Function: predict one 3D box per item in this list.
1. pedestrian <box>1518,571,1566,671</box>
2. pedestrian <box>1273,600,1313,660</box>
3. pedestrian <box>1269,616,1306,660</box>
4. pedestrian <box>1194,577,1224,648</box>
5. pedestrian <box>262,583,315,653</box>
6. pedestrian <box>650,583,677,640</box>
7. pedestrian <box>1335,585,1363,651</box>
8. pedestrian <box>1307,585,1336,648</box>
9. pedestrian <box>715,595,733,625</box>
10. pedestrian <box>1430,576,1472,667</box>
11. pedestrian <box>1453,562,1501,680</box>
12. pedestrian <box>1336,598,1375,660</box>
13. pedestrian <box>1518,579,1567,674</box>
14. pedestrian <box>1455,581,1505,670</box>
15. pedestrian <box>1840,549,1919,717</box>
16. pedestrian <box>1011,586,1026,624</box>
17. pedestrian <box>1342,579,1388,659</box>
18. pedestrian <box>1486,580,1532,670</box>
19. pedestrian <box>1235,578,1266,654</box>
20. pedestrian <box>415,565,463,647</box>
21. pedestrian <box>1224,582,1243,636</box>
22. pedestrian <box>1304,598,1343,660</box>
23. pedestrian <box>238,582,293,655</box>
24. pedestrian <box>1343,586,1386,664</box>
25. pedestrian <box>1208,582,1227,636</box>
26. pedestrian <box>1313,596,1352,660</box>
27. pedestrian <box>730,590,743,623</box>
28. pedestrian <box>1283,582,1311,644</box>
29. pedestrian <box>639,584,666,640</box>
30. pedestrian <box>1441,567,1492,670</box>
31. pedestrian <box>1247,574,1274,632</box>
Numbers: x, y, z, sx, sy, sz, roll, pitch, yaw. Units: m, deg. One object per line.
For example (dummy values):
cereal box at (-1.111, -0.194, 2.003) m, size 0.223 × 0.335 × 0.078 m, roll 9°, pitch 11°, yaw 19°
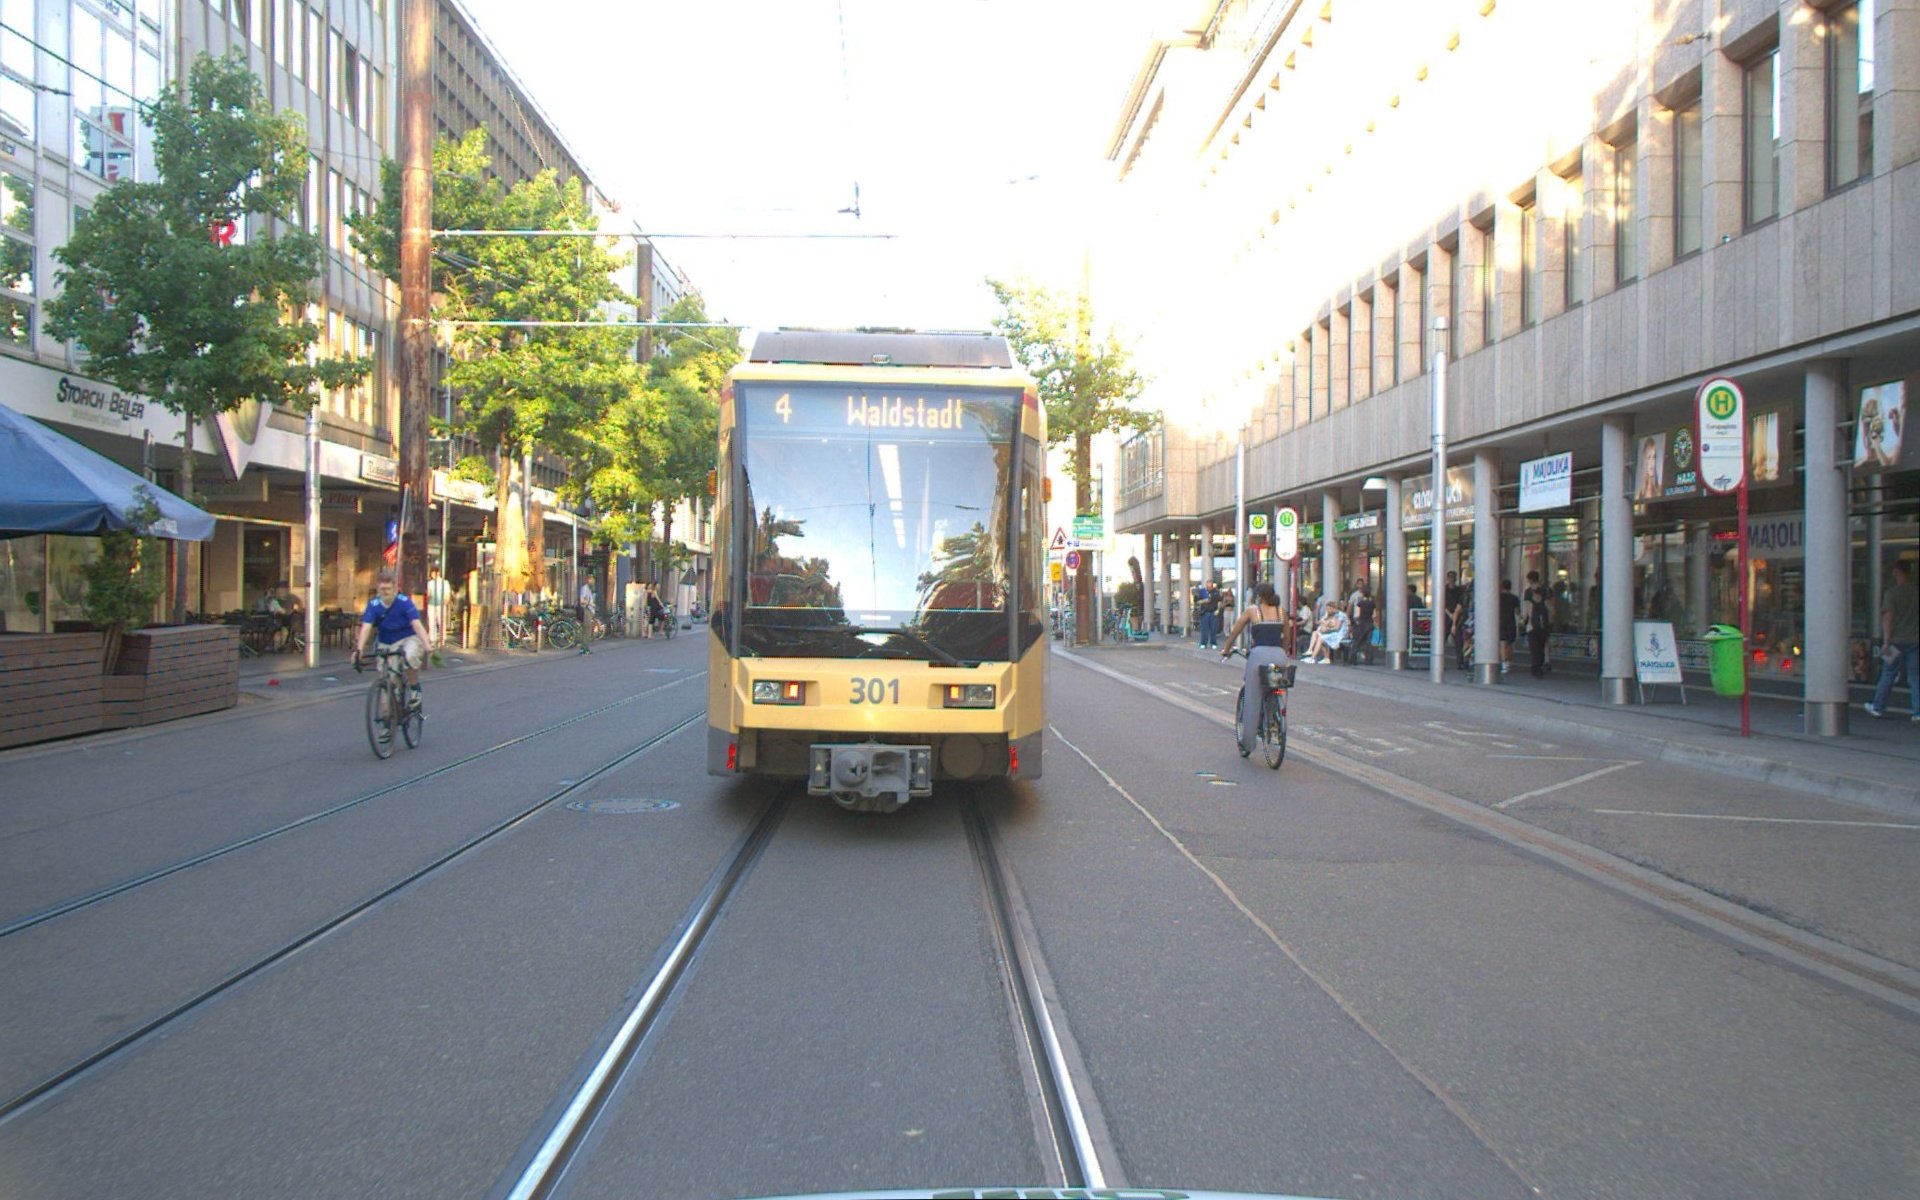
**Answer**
pedestrian at (11.087, 0.398, 31.513) m, size 0.677 × 1.885 × 0.680 m, roll 0°, pitch 0°, yaw 0°
pedestrian at (7.975, 0.712, 39.629) m, size 0.796 × 1.405 × 0.662 m, roll 1°, pitch -1°, yaw 0°
pedestrian at (7.979, 0.920, 40.313) m, size 0.796 × 1.061 × 0.544 m, roll 1°, pitch -1°, yaw 0°
pedestrian at (6.652, 0.339, 44.185) m, size 0.655 × 1.872 × 0.708 m, roll -1°, pitch 0°, yaw -2°
pedestrian at (-13.462, 0.358, 33.172) m, size 0.657 × 1.349 × 0.911 m, roll 3°, pitch -1°, yaw -3°
pedestrian at (-9.126, 0.363, 50.864) m, size 0.589 × 1.729 × 0.535 m, roll 1°, pitch 0°, yaw 27°
pedestrian at (10.502, 0.472, 44.657) m, size 0.559 × 1.762 × 0.617 m, roll -1°, pitch 0°, yaw -3°
pedestrian at (10.642, 0.479, 48.676) m, size 0.649 × 1.818 × 0.719 m, roll -1°, pitch 0°, yaw -1°
pedestrian at (-11.429, 0.494, 79.965) m, size 0.544 × 1.459 × 0.682 m, roll -1°, pitch -1°, yaw 36°
pedestrian at (9.716, 0.424, 32.738) m, size 0.570 × 1.783 × 0.773 m, roll -1°, pitch 0°, yaw -3°
pedestrian at (8.803, 0.355, 28.183) m, size 0.566 × 1.978 × 0.655 m, roll -1°, pitch -1°, yaw -2°
pedestrian at (8.648, 0.638, 36.193) m, size 0.703 × 1.337 × 0.532 m, roll 1°, pitch -1°, yaw 0°
pedestrian at (10.492, 0.472, 29.789) m, size 0.635 × 1.690 × 0.680 m, roll 0°, pitch 0°, yaw 0°
pedestrian at (10.734, 0.517, 34.162) m, size 0.757 × 1.803 × 0.773 m, roll -1°, pitch 0°, yaw -3°
pedestrian at (11.026, 0.375, 19.462) m, size 0.827 × 1.922 × 0.899 m, roll -1°, pitch 0°, yaw -1°
pedestrian at (2.760, 0.233, 78.019) m, size 0.703 × 1.756 × 0.709 m, roll 0°, pitch -1°, yaw 0°
pedestrian at (9.409, 0.435, 38.425) m, size 0.827 × 1.829 × 0.858 m, roll -1°, pitch 0°, yaw -1°
pedestrian at (10.476, 0.479, 31.561) m, size 0.635 × 1.690 × 0.680 m, roll -1°, pitch 0°, yaw 0°
pedestrian at (7.214, 0.394, 41.125) m, size 0.626 × 1.872 × 0.667 m, roll -1°, pitch 0°, yaw -1°
pedestrian at (-11.835, 0.136, 37.584) m, size 0.670 × 1.824 × 0.990 m, roll 3°, pitch -1°, yaw 1°
pedestrian at (9.377, 0.321, 56.725) m, size 0.528 × 1.838 × 0.604 m, roll -1°, pitch 0°, yaw -3°
pedestrian at (7.926, 0.625, 36.060) m, size 0.703 × 1.337 × 0.532 m, roll 1°, pitch -1°, yaw 0°
pedestrian at (-13.416, 0.354, 31.975) m, size 0.657 × 1.349 × 0.911 m, roll 3°, pitch -1°, yaw -3°
pedestrian at (8.411, 0.512, 34.419) m, size 0.709 × 1.597 × 0.736 m, roll -1°, pitch 0°, yaw 0°
pedestrian at (8.844, 0.311, 56.805) m, size 0.528 × 1.838 × 0.604 m, roll -1°, pitch 0°, yaw -3°
pedestrian at (7.985, 0.600, 35.503) m, size 0.703 × 1.337 × 0.524 m, roll 1°, pitch -1°, yaw 0°
pedestrian at (-10.302, 0.283, 76.306) m, size 0.592 × 1.520 × 0.554 m, roll 0°, pitch -1°, yaw -10°
pedestrian at (9.937, 0.377, 48.747) m, size 0.649 × 1.818 × 0.719 m, roll -1°, pitch 0°, yaw -1°
pedestrian at (-9.552, 0.359, 51.375) m, size 0.589 × 1.729 × 0.535 m, roll 1°, pitch 0°, yaw 27°
pedestrian at (9.638, 0.354, 31.473) m, size 0.692 × 1.922 × 0.796 m, roll -1°, pitch 0°, yaw -1°
pedestrian at (8.845, 0.081, 48.732) m, size 0.635 × 1.690 × 0.650 m, roll -1°, pitch 0°, yaw -1°
